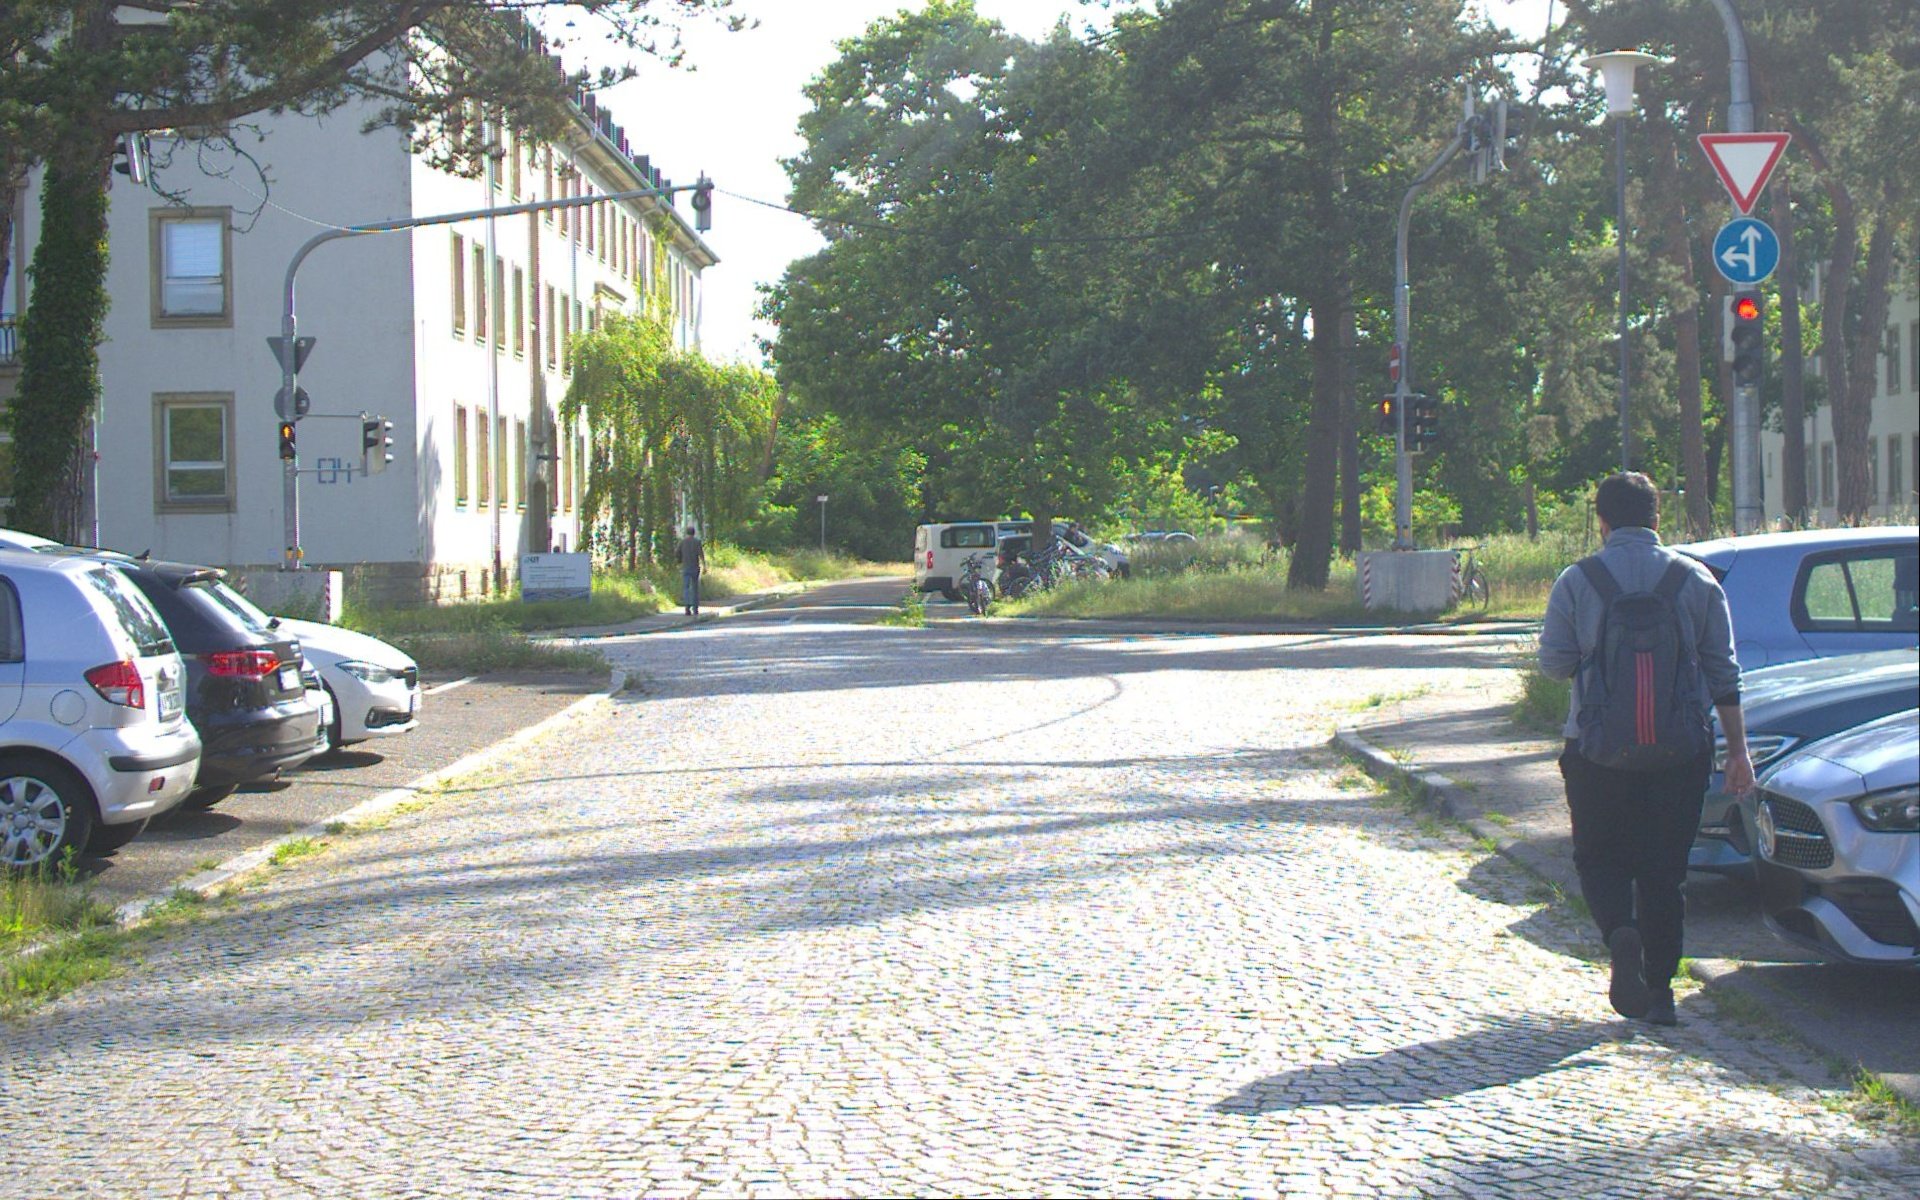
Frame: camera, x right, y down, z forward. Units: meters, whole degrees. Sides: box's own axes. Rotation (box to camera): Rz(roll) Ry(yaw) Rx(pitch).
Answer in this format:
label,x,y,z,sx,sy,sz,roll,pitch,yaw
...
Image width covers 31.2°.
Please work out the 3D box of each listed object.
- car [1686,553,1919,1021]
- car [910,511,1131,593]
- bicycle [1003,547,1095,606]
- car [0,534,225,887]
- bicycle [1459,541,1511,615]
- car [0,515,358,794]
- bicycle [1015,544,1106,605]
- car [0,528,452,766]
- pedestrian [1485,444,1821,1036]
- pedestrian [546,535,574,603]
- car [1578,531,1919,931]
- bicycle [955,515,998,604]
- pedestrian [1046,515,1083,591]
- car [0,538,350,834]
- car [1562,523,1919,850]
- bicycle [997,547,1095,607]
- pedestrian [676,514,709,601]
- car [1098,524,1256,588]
label,x,y,z,sx,sy,sz,roll,pitch,yaw
car,4.814,0.494,11.368,4.399,1.384,1.789,-2,1,0
car,1.455,-1.178,83.518,5.065,1.911,2.001,-1,1,-9
bicycle,1.711,-0.451,66.167,1.727,1.108,0.484,-1,1,-3
car,-5.435,0.434,15.934,3.685,1.522,1.699,2,1,-2
bicycle,8.198,-0.362,53.631,0.722,1.111,2.582,-1,1,10
car,-5.841,0.284,21.378,3.879,1.610,1.661,2,1,-1
bicycle,1.950,-0.503,66.844,1.727,1.160,0.561,-1,1,-3
car,-5.732,0.282,24.022,3.988,1.491,1.772,2,1,5
pedestrian,2.133,0.412,10.683,0.753,1.719,0.828,4,1,0
pedestrian,-9.272,-0.729,79.762,0.606,1.554,0.545,-1,1,-6
car,5.058,0.401,14.099,4.619,1.450,1.870,-3,1,-2
bicycle,0.289,-0.745,62.178,0.753,1.575,2.537,0,1,0
pedestrian,2.485,-1.115,81.710,0.759,1.777,0.684,-1,1,-7
car,-5.437,0.389,18.597,3.937,1.440,1.691,3,1,-1
car,4.915,0.342,16.631,3.673,1.438,1.665,-2,1,1
bicycle,1.641,-0.440,65.623,1.834,1.108,0.495,-1,1,-3
pedestrian,-5.407,-0.861,69.479,0.607,1.746,0.630,0,1,0
car,5.502,-1.126,87.388,3.743,1.574,1.742,-1,1,-7
